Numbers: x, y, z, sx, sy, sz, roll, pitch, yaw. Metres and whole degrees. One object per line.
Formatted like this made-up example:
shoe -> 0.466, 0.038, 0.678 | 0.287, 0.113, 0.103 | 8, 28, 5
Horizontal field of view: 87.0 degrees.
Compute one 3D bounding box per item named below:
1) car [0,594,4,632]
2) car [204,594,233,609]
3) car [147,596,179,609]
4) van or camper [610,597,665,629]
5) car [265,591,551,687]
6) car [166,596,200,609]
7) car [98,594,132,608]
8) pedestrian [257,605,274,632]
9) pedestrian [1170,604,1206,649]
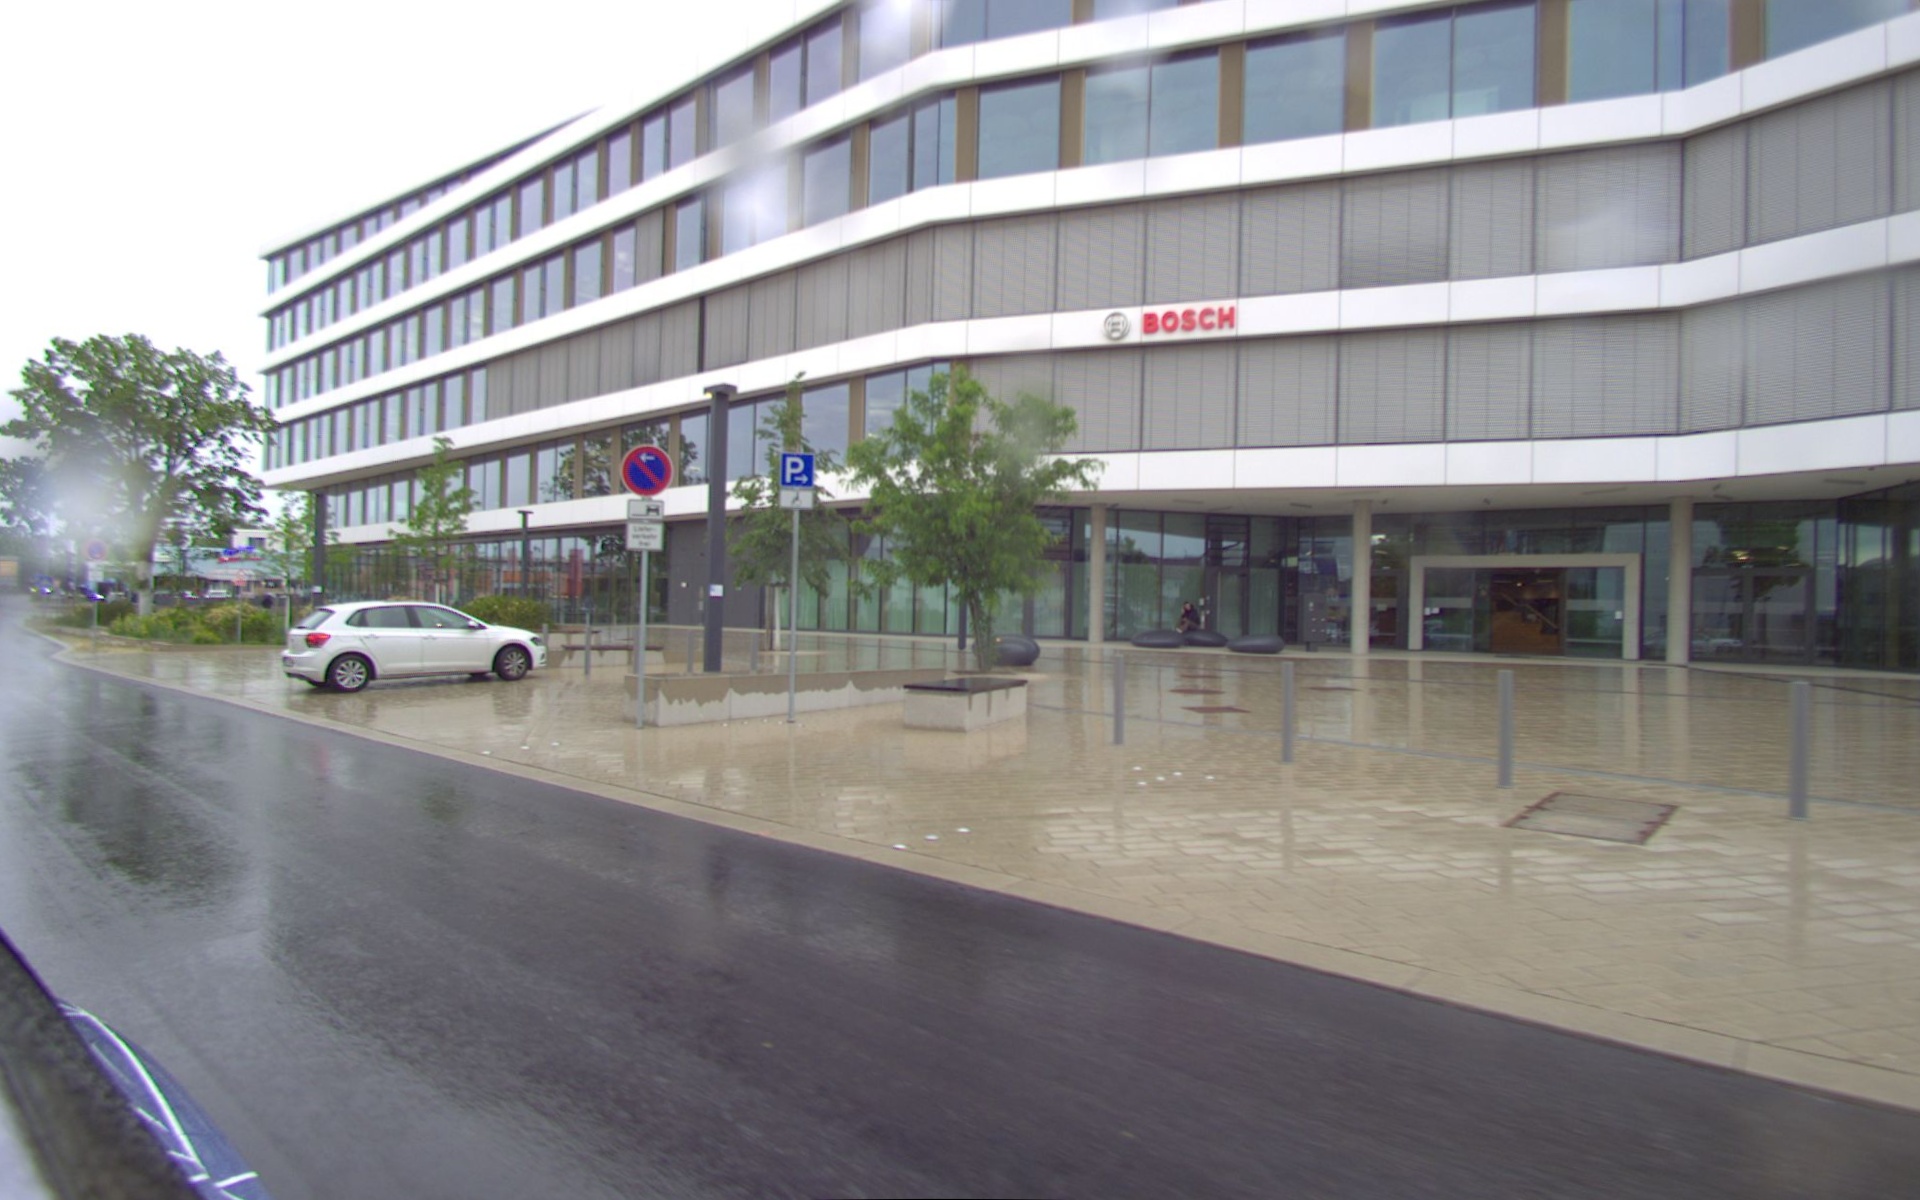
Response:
car -> -49.299, 0.636, 50.531 | 4.980, 1.831, 1.981 | 0, -1, 43
car -> -75.587, 0.168, 103.221 | 1.763, 1.564, 4.013 | 1, 0, -28
car -> -87.485, 0.255, 111.129 | 1.855, 1.305, 4.013 | -2, 1, -24
van or camper -> -32.785, 1.308, 102.922 | 5.013, 3.111, 2.006 | -1, 0, -27
car -> -9.322, 0.620, 17.304 | 1.898, 1.434, 3.885 | 0, -1, 42
car -> -77.870, 0.237, 101.468 | 1.855, 1.305, 4.013 | -2, 1, -24
car -> -98.364, 0.080, 117.898 | 1.888, 1.541, 4.013 | -1, 0, -22
pedestrian -> -47.213, 1.240, 68.784 | 0.957, 1.716, 0.716 | 2, 4, 45
pedestrian -> 7.059, 0.806, 31.306 | 1.051, 1.324, 0.895 | 0, 3, 15
